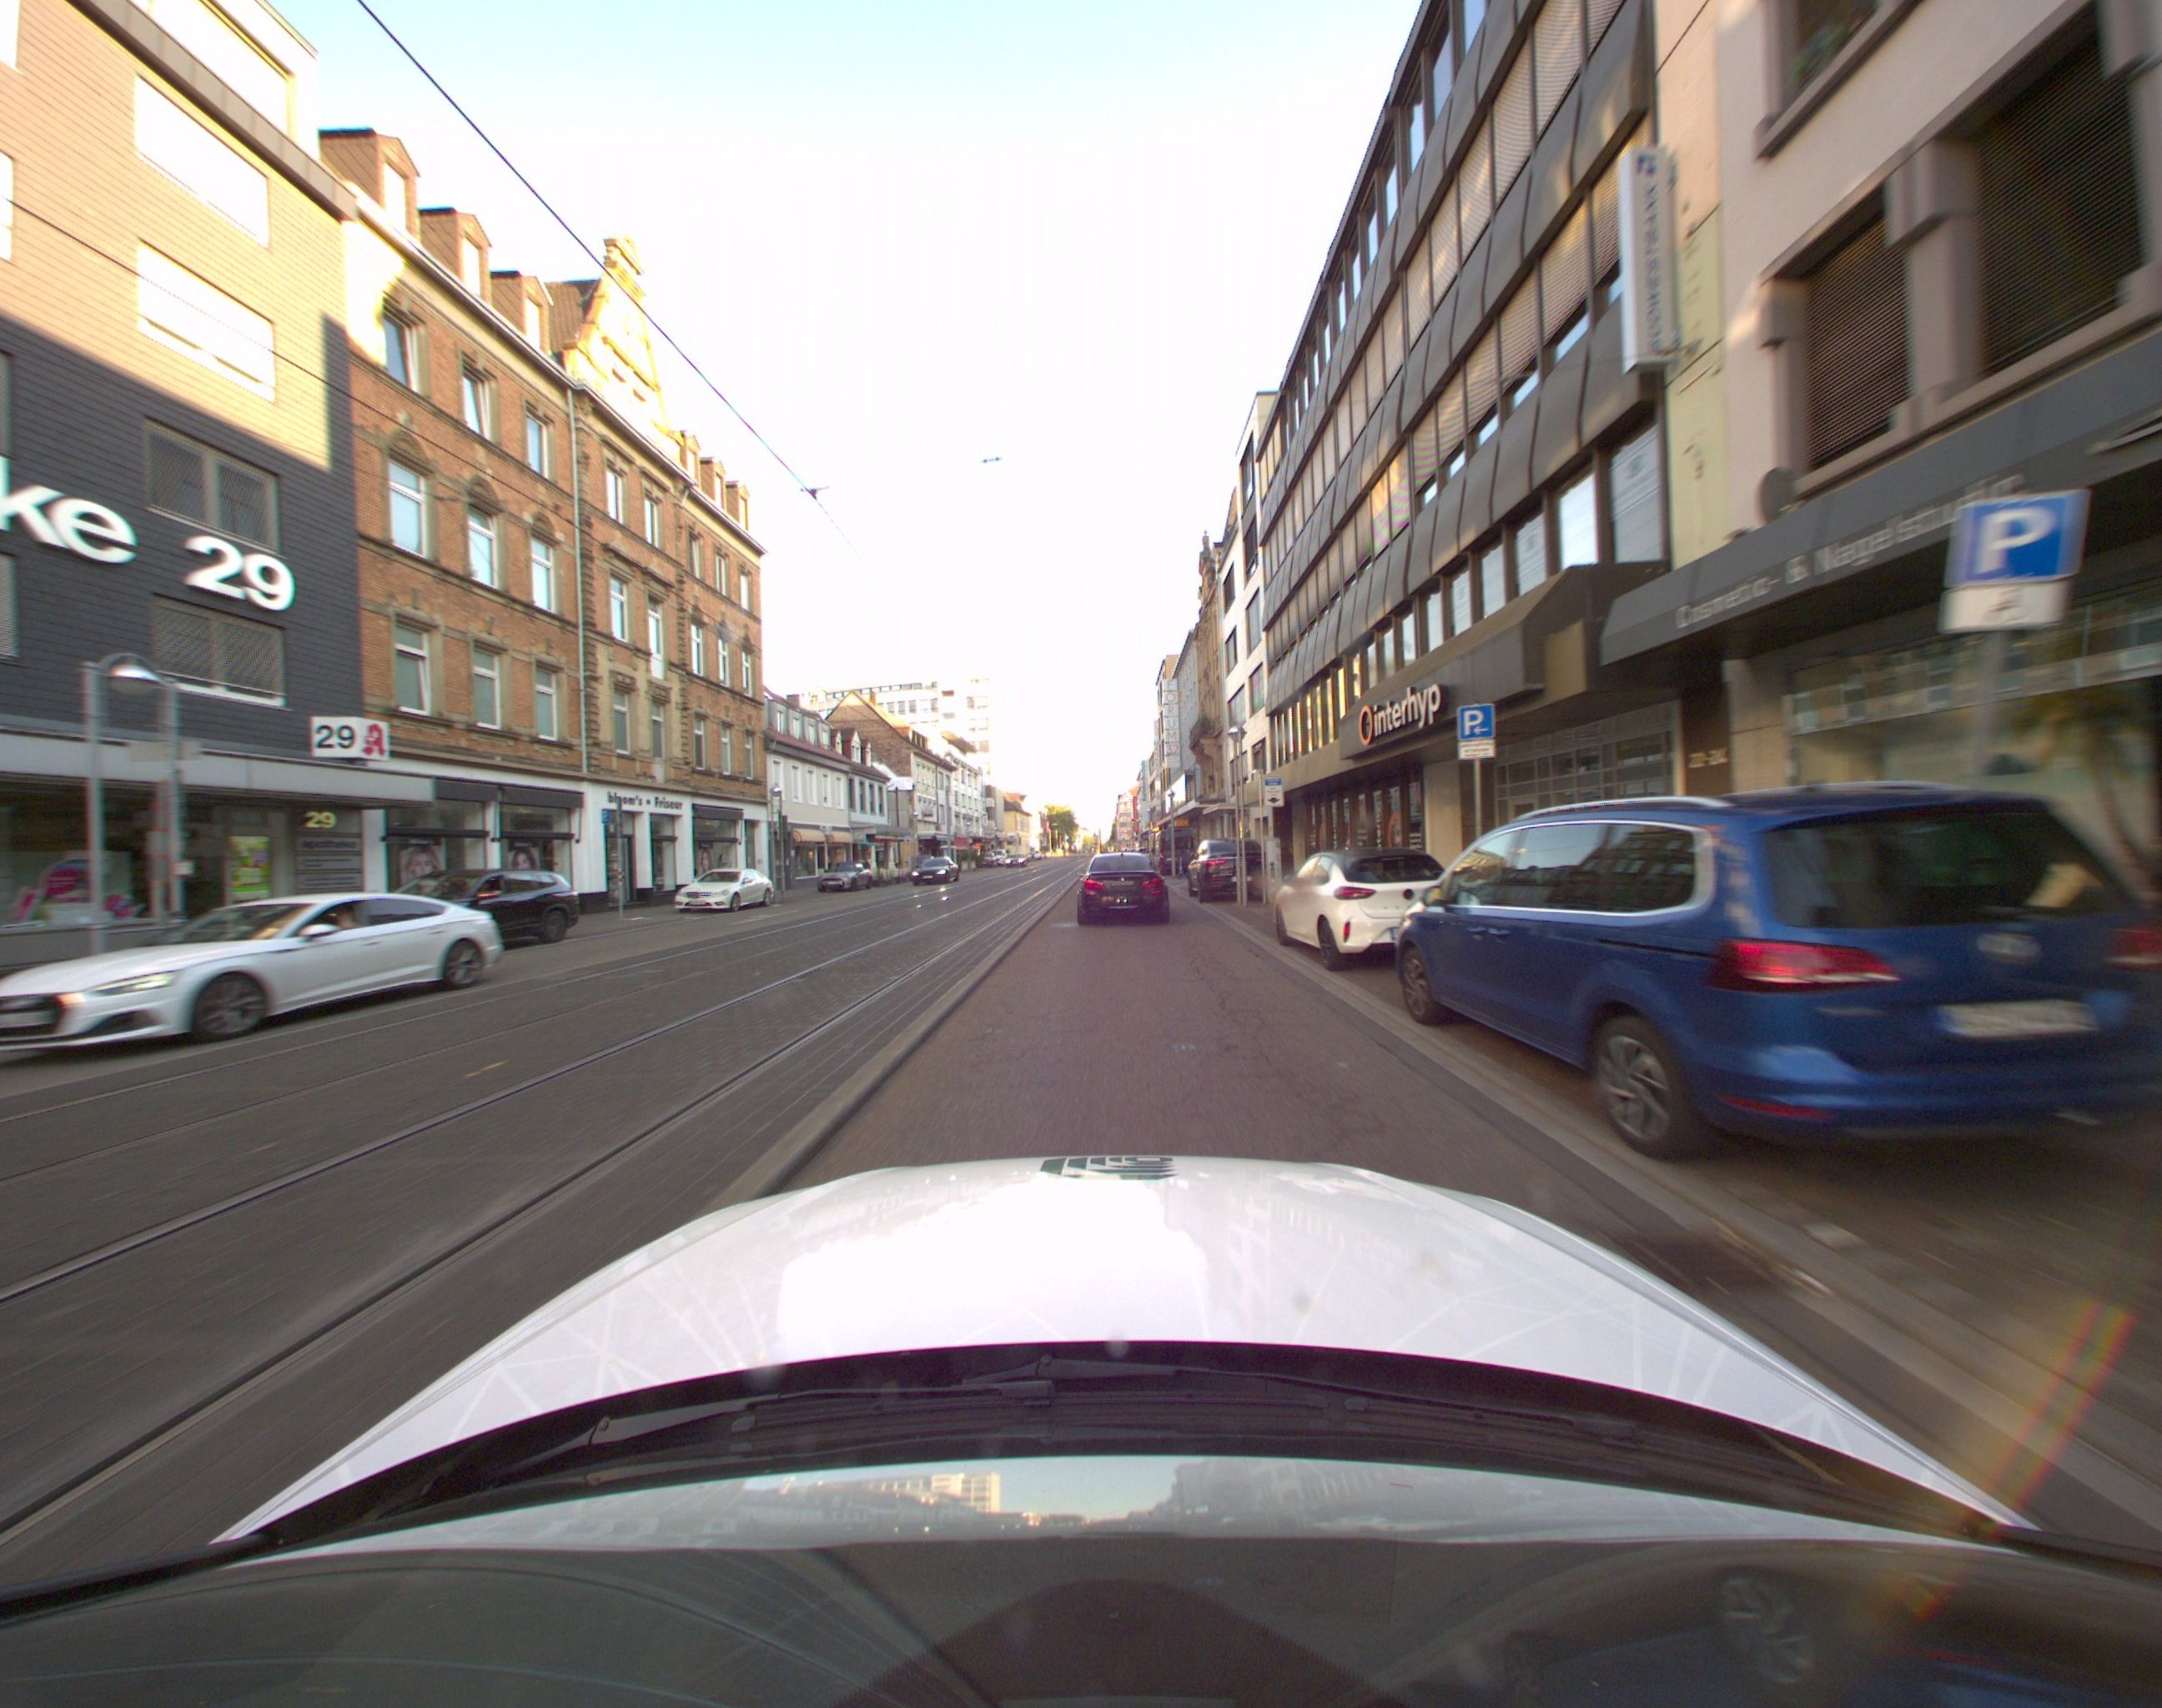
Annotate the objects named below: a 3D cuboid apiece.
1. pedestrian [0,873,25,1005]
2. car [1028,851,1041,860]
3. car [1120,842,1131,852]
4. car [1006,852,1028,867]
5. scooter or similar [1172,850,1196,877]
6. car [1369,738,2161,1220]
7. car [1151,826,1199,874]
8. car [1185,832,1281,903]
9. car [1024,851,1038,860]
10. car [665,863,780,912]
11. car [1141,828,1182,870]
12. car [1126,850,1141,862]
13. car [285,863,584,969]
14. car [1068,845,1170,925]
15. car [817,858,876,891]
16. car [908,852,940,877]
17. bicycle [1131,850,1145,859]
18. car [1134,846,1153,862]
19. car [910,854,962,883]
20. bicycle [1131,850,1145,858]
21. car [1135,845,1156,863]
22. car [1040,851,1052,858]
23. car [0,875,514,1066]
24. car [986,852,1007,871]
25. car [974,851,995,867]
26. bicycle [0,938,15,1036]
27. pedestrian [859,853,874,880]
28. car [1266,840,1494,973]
[{"bbox_3d":[-14.408,1.121,10.544,0.618,1.699,0.603,-2,1,1],"label":"pedestrian"},{"bbox_3d":[-8.260,0.216,144.224,1.921,1.435,4.248,-1,0,2],"label":"car"},{"bbox_3d":[7.403,-1.111,135.338,1.767,1.549,3.504,-2,0,2],"label":"car"},{"bbox_3d":[-6.554,0.528,83.755,1.685,1.453,4.468,-2,0,3],"label":"car"},{"bbox_3d":[4.889,0.466,38.684,0.493,1.220,1.273,-2,0,39],"label":"scooter or similar"},{"bbox_3d":[3.665,0.446,5.353,1.986,1.727,4.579,-4,0,2],"label":"car"},{"bbox_3d":[5.259,-0.237,46.496,2.085,2.455,6.034,-3,0,2],"label":"car"},{"bbox_3d":[4.218,0.331,23.341,1.986,1.727,4.568,-3,0,2],"label":"car"},{"bbox_3d":[-8.403,0.188,138.122,1.921,1.435,4.248,-2,0,2],"label":"car"},{"bbox_3d":[-12.058,1.072,27.766,1.863,1.453,4.609,1,0,0],"label":"car"},{"bbox_3d":[5.185,-0.309,52.868,2.026,2.455,5.409,-4,0,0],"label":"car"},{"bbox_3d":[7.321,0.288,113.731,1.896,1.549,4.002,-2,0,2],"label":"car"},{"bbox_3d":[-12.322,1.073,16.049,1.922,1.674,4.651,-1,1,4],"label":"car"},{"bbox_3d":[0.865,0.619,17.926,1.945,1.498,4.468,-1,-1,3],"label":"car"},{"bbox_3d":[-11.482,0.965,40.136,1.592,1.439,3.815,0,1,3],"label":"car"},{"bbox_3d":[-10.748,0.702,55.876,1.471,1.577,2.796,-3,0,2],"label":"car"},{"bbox_3d":[7.313,0.061,104.365,1.853,1.080,0.469,-2,-1,2],"label":"bicycle"},{"bbox_3d":[6.128,-0.024,80.468,1.554,1.441,3.710,-4,0,2],"label":"car"},{"bbox_3d":[-7.944,0.760,44.989,1.987,1.453,4.647,-2,0,-1],"label":"car"},{"bbox_3d":[7.757,0.003,110.163,1.853,1.119,0.469,-2,-1,2],"label":"bicycle"},{"bbox_3d":[5.923,0.003,75.057,1.648,1.537,3.887,-3,0,2],"label":"car"},{"bbox_3d":[-7.178,0.118,167.350,1.921,1.435,4.248,-1,0,2],"label":"car"},{"bbox_3d":[-9.285,1.109,9.439,1.986,1.453,4.658,-4,0,1],"label":"car"},{"bbox_3d":[-9.809,0.848,95.043,1.988,2.156,4.908,-2,0,-1],"label":"car"},{"bbox_3d":[-10.305,0.512,87.139,1.861,1.685,3.996,-2,0,-3],"label":"car"},{"bbox_3d":[-12.667,1.457,8.735,1.824,1.047,0.489,0,2,1],"label":"bicycle"},{"bbox_3d":[-13.495,0.777,51.256,0.660,1.644,0.695,-2,0,2],"label":"pedestrian"},{"bbox_3d":[3.841,0.567,11.202,1.789,1.433,3.889,-3,1,2],"label":"car"}]
